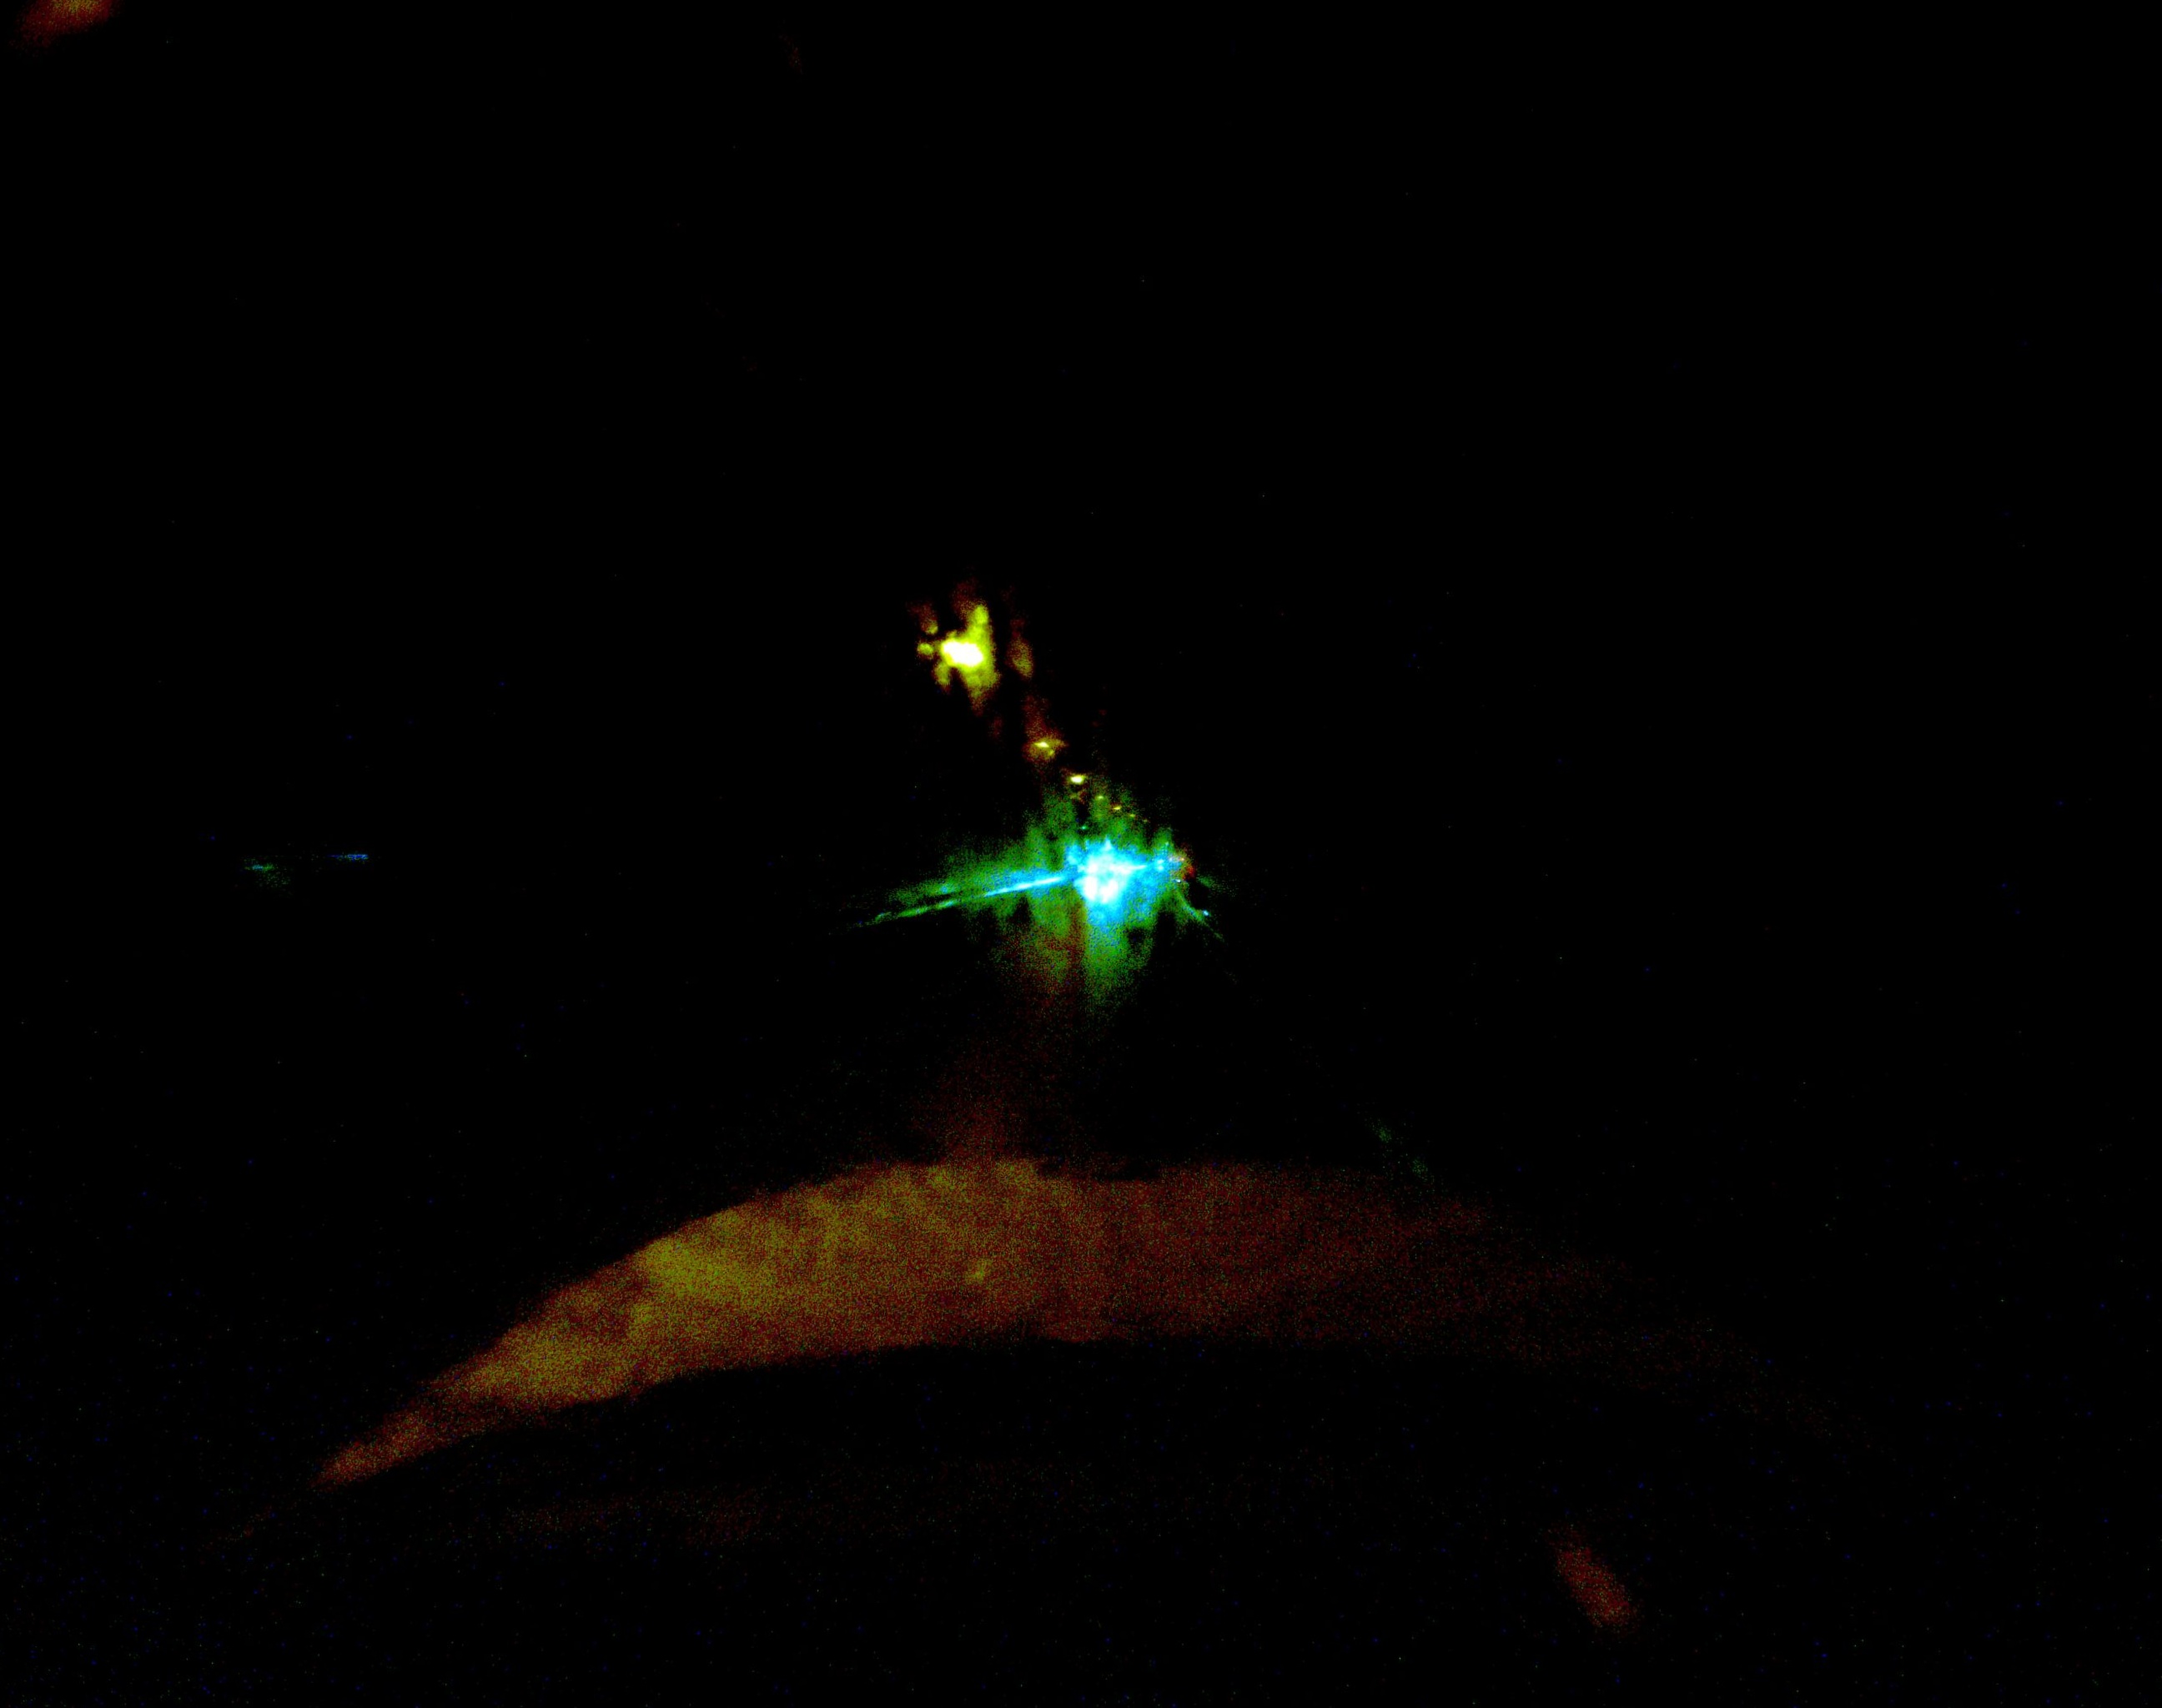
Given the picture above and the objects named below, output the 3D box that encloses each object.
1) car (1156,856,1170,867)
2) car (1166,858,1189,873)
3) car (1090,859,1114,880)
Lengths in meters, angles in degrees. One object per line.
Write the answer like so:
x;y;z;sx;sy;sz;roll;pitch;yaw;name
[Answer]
10.890;0.980;107.989;1.621;1.397;4.008;-1;0;7;car
10.945;1.301;92.387;1.978;1.650;4.017;-1;0;16;car
1.487;1.077;58.414;1.620;1.447;3.936;0;0;0;car
